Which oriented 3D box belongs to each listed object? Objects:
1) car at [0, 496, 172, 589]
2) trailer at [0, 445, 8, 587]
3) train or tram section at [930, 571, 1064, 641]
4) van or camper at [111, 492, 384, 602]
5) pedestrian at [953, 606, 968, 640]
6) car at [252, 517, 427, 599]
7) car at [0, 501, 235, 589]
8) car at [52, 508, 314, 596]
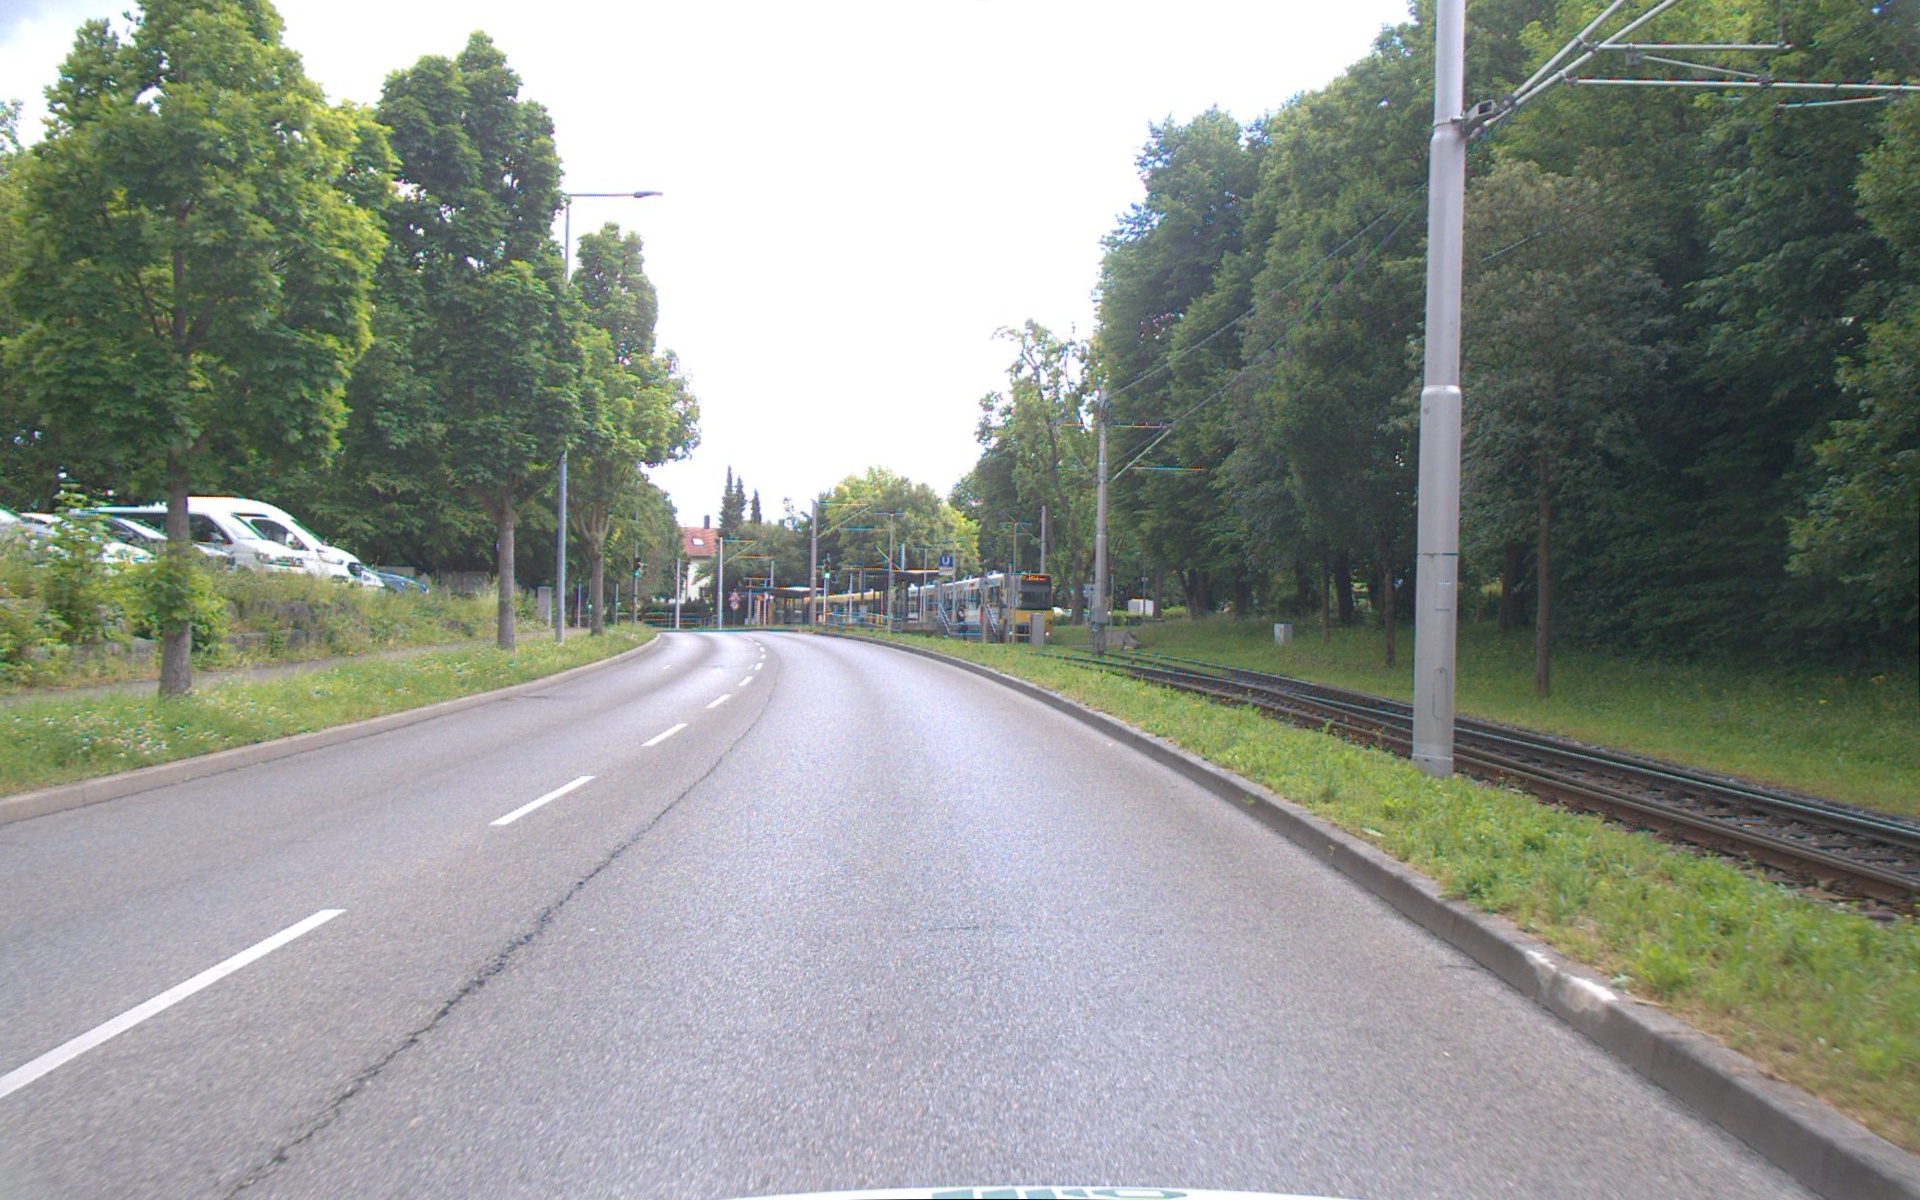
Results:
[{"bbox_3d":[-16.616,-1.029,29.437,4.176,1.534,1.998,1,0,-5],"label":"car"},{"bbox_3d":[-15.805,-1.263,23.049,3.906,2.049,1.907,2,0,-2],"label":"trailer"},{"bbox_3d":[1.535,0.207,98.551,2.950,3.368,34.657,2,0,-7],"label":"train or tram section"},{"bbox_3d":[-16.047,-1.176,37.487,5.228,2.241,1.998,2,0,-5],"label":"van or camper"},{"bbox_3d":[0.037,1.037,74.650,0.557,1.490,0.594,1,0,-9],"label":"pedestrian"},{"bbox_3d":[-16.649,-1.110,44.553,3.906,2.049,1.999,1,0,-2],"label":"car"},{"bbox_3d":[-16.595,-1.045,31.984,4.226,1.534,1.998,1,0,-5],"label":"car"},{"bbox_3d":[-16.346,-0.984,34.926,4.545,1.685,2.001,1,0,3],"label":"car"}]
